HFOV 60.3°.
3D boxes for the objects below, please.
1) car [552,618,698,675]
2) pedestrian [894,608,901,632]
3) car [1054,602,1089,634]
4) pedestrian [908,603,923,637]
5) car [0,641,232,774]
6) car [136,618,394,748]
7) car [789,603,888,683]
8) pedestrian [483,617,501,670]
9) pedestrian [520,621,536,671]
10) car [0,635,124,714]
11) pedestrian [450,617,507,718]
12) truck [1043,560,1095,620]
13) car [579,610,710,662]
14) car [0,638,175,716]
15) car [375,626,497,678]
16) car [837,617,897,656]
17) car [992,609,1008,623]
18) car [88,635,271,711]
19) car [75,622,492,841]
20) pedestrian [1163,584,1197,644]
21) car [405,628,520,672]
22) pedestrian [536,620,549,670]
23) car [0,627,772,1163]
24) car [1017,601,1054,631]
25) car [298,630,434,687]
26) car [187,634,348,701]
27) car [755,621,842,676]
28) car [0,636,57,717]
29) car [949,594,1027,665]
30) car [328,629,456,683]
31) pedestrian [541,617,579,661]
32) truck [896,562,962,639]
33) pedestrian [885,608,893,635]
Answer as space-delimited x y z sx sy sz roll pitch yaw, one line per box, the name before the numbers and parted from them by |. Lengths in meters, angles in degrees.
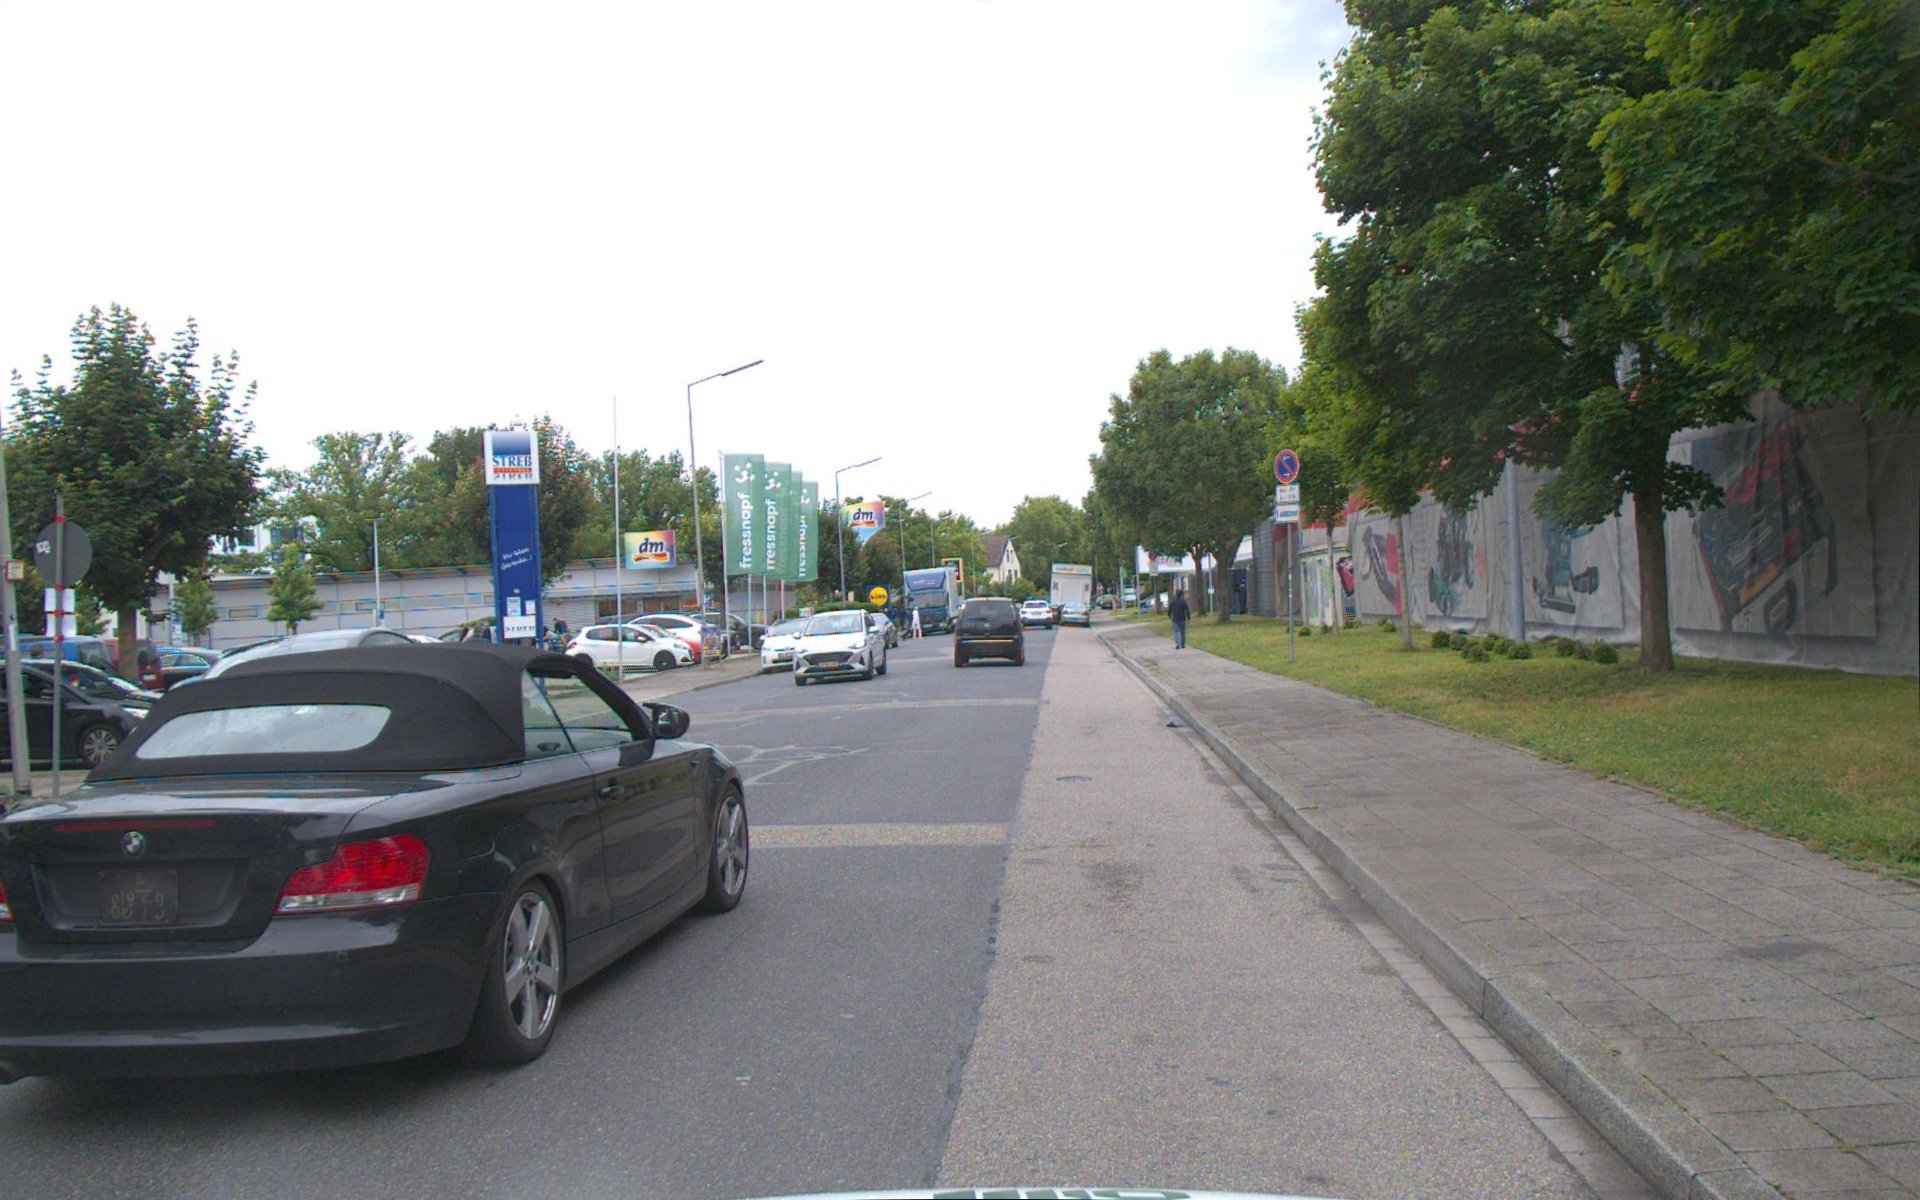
car | -10.323 1.426 51.209 4.120 1.488 1.951 -3 0 -4
pedestrian | -4.074 1.321 107.678 0.393 1.558 0.485 -3 0 -3
car | 6.630 1.084 98.824 1.952 1.837 4.001 -1 -1 2
pedestrian | -2.229 1.024 83.226 0.617 1.665 0.668 -3 0 3
car | -12.351 1.462 22.738 3.792 1.649 1.928 -2 0 4
car | -12.568 1.465 30.087 3.852 2.048 1.760 -3 0 -3
car | -2.605 0.912 36.258 1.565 1.554 3.530 -4 -1 4
pedestrian | -15.225 1.416 53.820 0.447 1.670 0.373 -3 -1 -14
pedestrian | -14.138 1.507 54.121 0.352 1.597 0.503 -3 -1 -7
car | -22.312 1.805 39.252 3.904 1.698 1.877 -3 0 4
pedestrian | -8.588 1.201 29.520 0.759 1.745 0.697 -2 -1 -1
truck | 7.033 -0.583 108.000 3.069 3.647 10.053 -1 -1 2
car | -10.654 1.211 56.070 4.052 1.489 1.898 -3 0 -2
car | -22.200 1.924 41.625 3.904 1.698 1.877 -3 0 4
car | -19.933 1.971 63.009 3.904 1.698 1.877 -3 0 4
car | -3.720 1.444 66.520 1.858 1.391 4.002 -3 0 4
car | 4.288 1.721 176.170 1.509 1.389 3.430 -1 -1 4
car | -20.634 1.914 43.813 3.904 1.698 1.877 -3 0 4
car | -6.236 1.120 15.908 1.907 1.552 4.404 -7 -1 2
pedestrian | 6.224 0.392 46.857 0.899 1.663 0.853 -1 -1 6
car | -19.694 1.966 65.568 3.903 1.518 1.787 -3 0 4
pedestrian | -13.574 1.466 53.740 0.323 1.597 0.503 -1 0 -8
car | -2.078 0.855 6.565 1.708 1.382 4.140 -3 -1 6
car | 4.106 0.822 89.453 1.847 1.558 4.256 -1 0 4
car | -20.420 1.991 56.977 3.904 1.698 1.877 -3 0 4
car | -20.483 1.977 49.037 3.904 1.698 1.877 -3 0 4
car | -4.701 1.406 48.618 1.858 1.391 4.002 -3 0 4
car | -22.539 1.779 36.697 3.904 1.698 1.877 -3 0 4
car | 0.729 0.686 40.507 1.645 1.660 3.761 0 0 5
car | -20.719 2.022 60.433 3.904 1.698 1.877 -3 0 4
pedestrian | -19.441 1.887 80.383 1.373 2.048 1.195 -3 -1 -36
truck | -1.711 0.022 93.936 2.911 4.024 6.408 -4 0 4
pedestrian | -4.253 1.293 99.076 0.393 1.558 0.485 -3 0 -2
